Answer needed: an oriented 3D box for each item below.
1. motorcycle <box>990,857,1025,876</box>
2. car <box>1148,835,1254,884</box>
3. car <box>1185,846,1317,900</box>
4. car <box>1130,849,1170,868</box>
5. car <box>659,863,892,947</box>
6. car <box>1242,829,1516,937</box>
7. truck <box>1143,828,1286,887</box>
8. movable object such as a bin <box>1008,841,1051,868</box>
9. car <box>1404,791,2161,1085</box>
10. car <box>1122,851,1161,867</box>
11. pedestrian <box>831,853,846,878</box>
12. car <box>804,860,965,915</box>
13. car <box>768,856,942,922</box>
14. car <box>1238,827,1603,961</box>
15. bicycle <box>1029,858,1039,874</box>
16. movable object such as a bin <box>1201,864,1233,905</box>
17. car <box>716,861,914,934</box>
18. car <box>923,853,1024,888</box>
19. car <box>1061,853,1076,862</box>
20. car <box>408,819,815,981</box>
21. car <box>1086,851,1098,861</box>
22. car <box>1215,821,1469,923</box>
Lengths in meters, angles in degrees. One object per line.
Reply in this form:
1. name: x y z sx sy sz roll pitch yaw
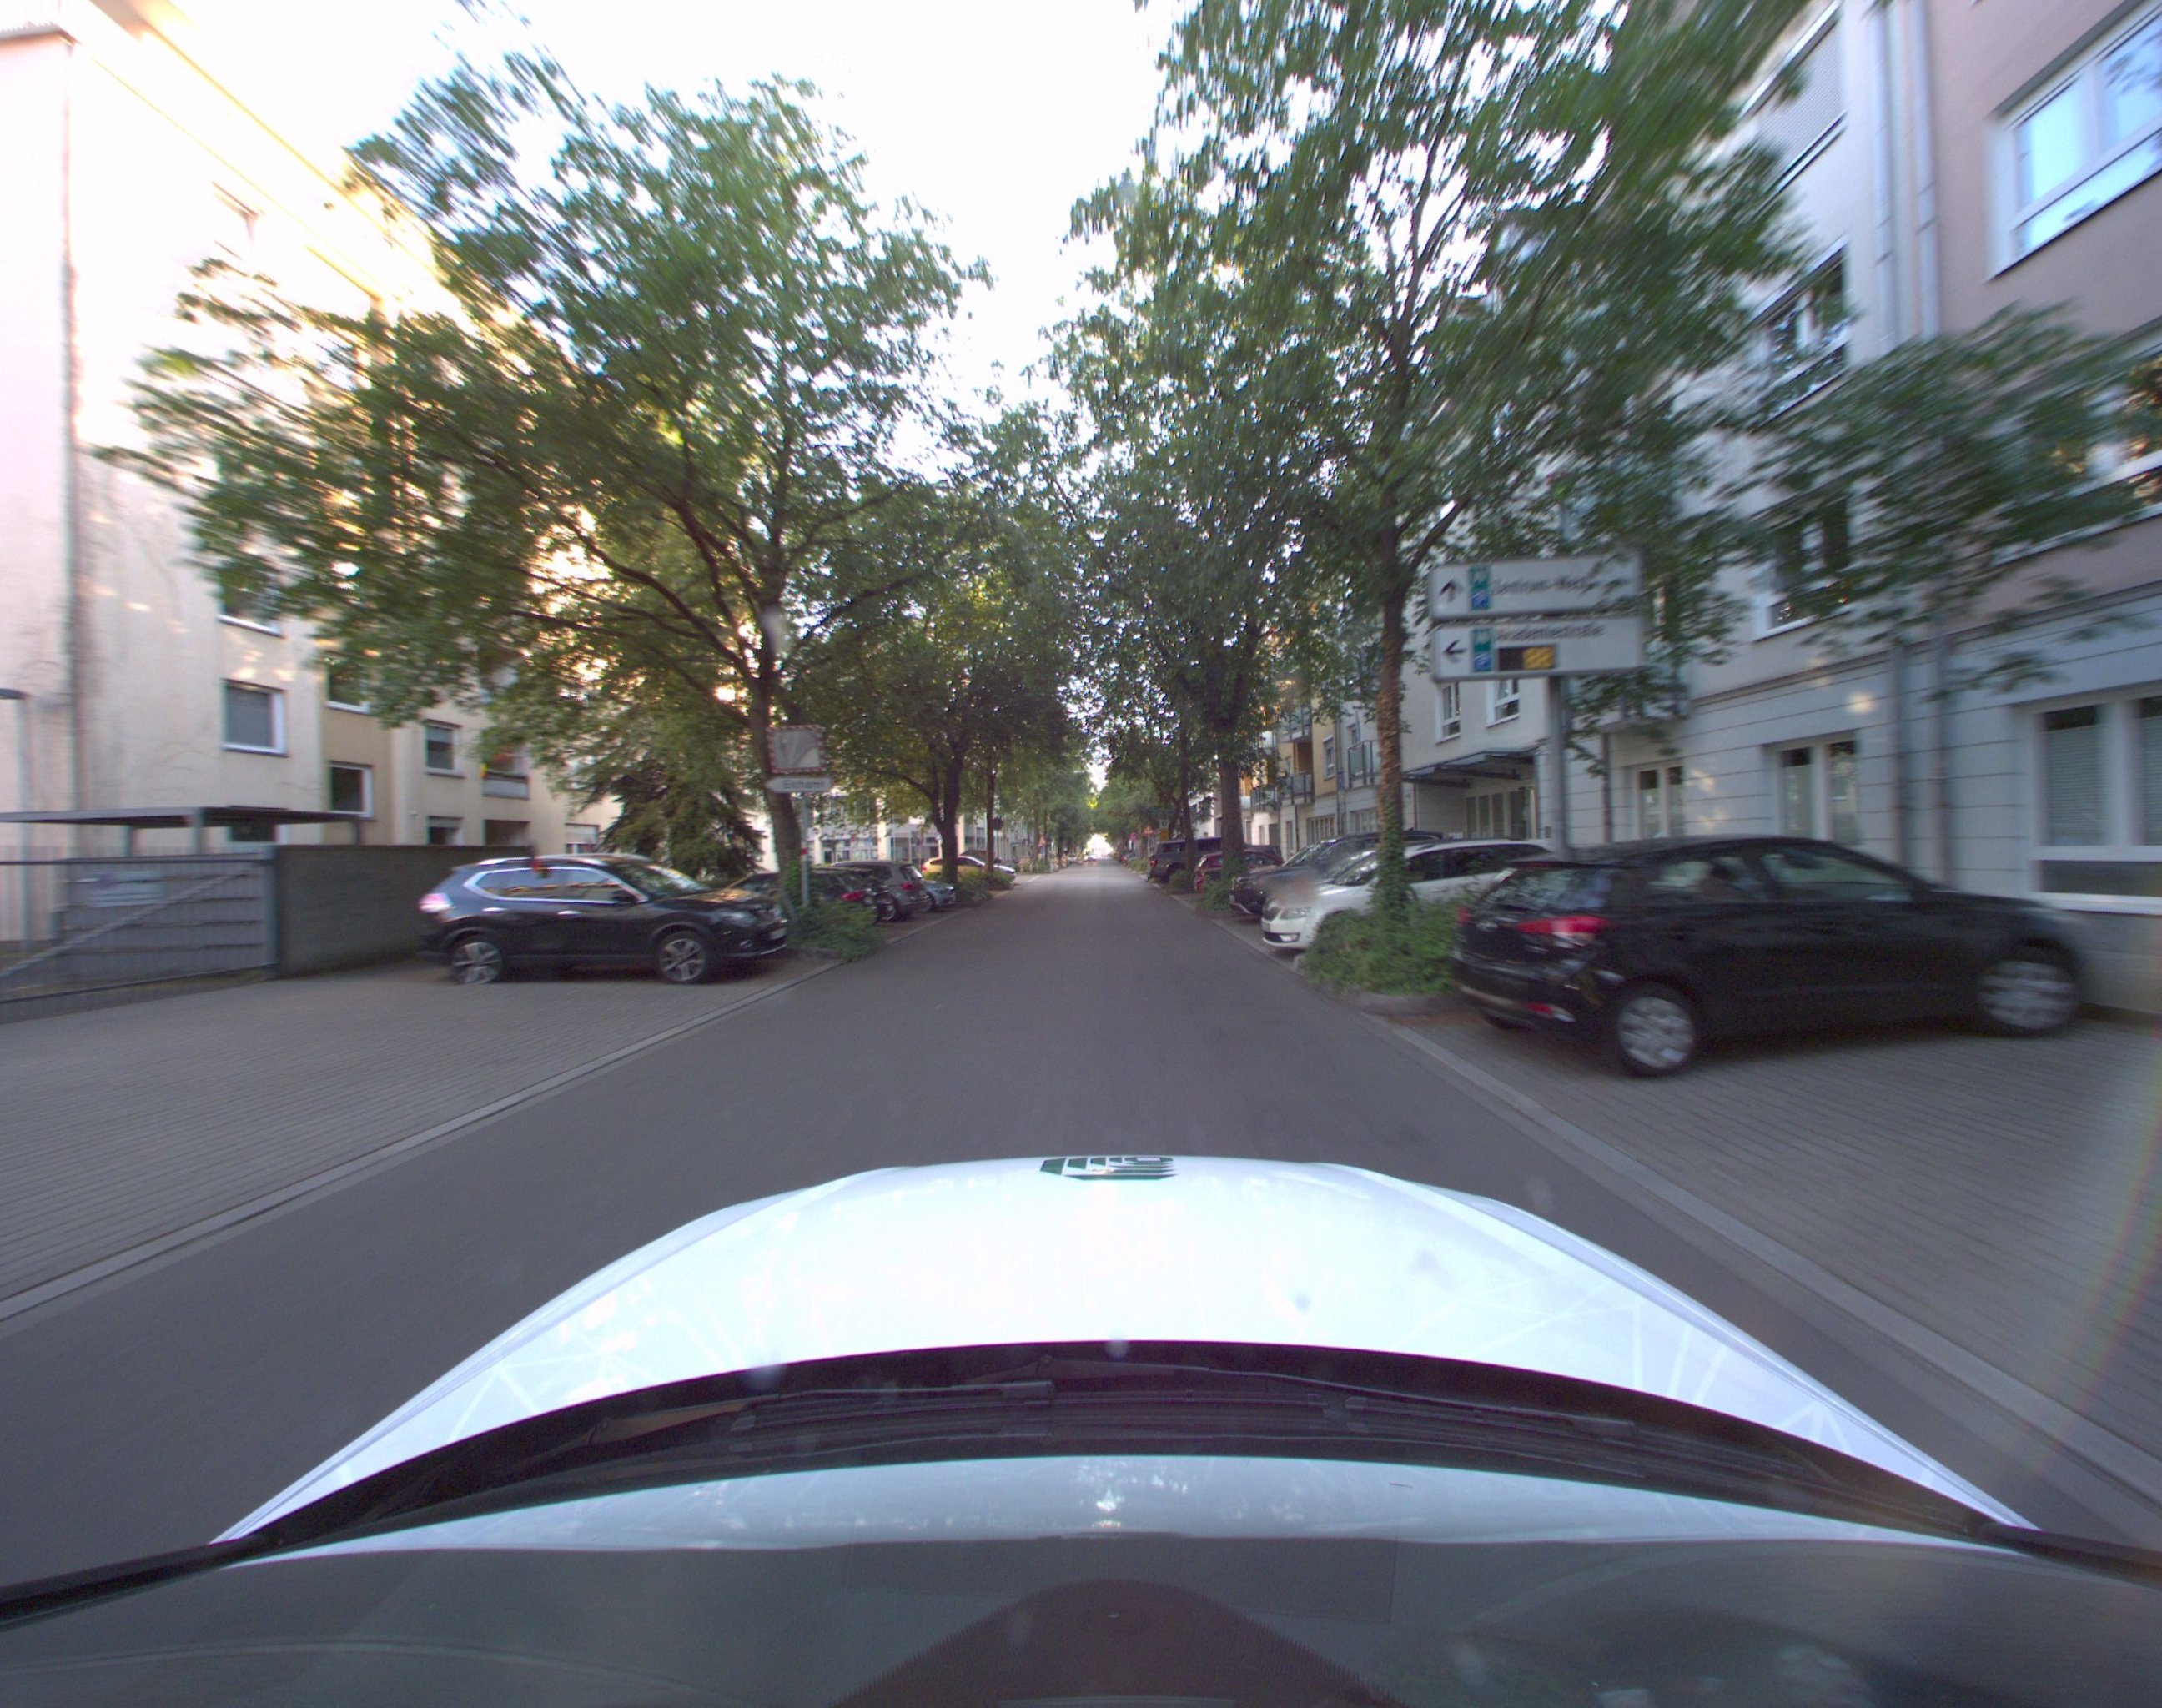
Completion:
1. motorcycle: -5.391 0.899 59.954 2.368 1.281 1.055 -2 1 -39
2. car: 5.538 0.238 38.025 4.585 2.066 2.197 -2 0 0
3. car: 5.289 0.566 25.661 3.764 1.544 1.877 -1 0 -1
4. car: 6.980 0.428 82.110 3.968 1.805 2.003 -2 0 5
5. car: -6.118 0.996 16.684 3.975 1.464 1.922 -2 0 -1
6. car: 5.222 0.489 14.754 4.206 1.438 1.931 -5 0 3
7. truck: 5.676 0.138 35.279 5.866 2.311 2.213 -2 0 1
8. movable object such as a bin: -4.932 0.005 78.102 4.039 2.383 2.780 -2 0 -5
9. car: 4.854 0.495 6.042 4.076 1.451 1.932 -5 0 -4
10. car: 6.417 0.497 86.698 3.970 1.585 2.002 -2 0 3
11. pedestrian: -18.530 0.873 62.230 0.893 1.851 0.868 -2 0 -29
12. car: -5.782 0.972 24.358 4.272 1.429 1.880 -2 0 1
13. car: -5.941 0.899 21.731 3.966 1.565 1.933 -2 0 6
14. car: 4.820 0.541 12.041 4.585 1.468 1.796 -5 0 0
15. bicycle: -3.688 0.939 63.549 0.681 1.152 1.978 -2 0 -4
16. movable object such as a bin: 3.857 0.864 23.124 0.757 1.084 0.786 -3 0 2
17. car: -6.105 0.971 19.067 3.976 1.490 1.824 -2 0 -2
18. car: -5.258 0.789 40.187 4.599 1.552 2.077 -1 0 3
19. car: -1.911 0.454 122.848 1.989 1.288 3.996 -2 0 -3
20. car: -6.357 0.582 11.465 4.491 1.955 2.000 -1 0 -1
21. car: 1.812 0.333 135.211 2.003 1.613 4.119 -1 0 0
22. car: 5.384 0.343 17.236 4.632 1.617 2.008 -5 0 -3
